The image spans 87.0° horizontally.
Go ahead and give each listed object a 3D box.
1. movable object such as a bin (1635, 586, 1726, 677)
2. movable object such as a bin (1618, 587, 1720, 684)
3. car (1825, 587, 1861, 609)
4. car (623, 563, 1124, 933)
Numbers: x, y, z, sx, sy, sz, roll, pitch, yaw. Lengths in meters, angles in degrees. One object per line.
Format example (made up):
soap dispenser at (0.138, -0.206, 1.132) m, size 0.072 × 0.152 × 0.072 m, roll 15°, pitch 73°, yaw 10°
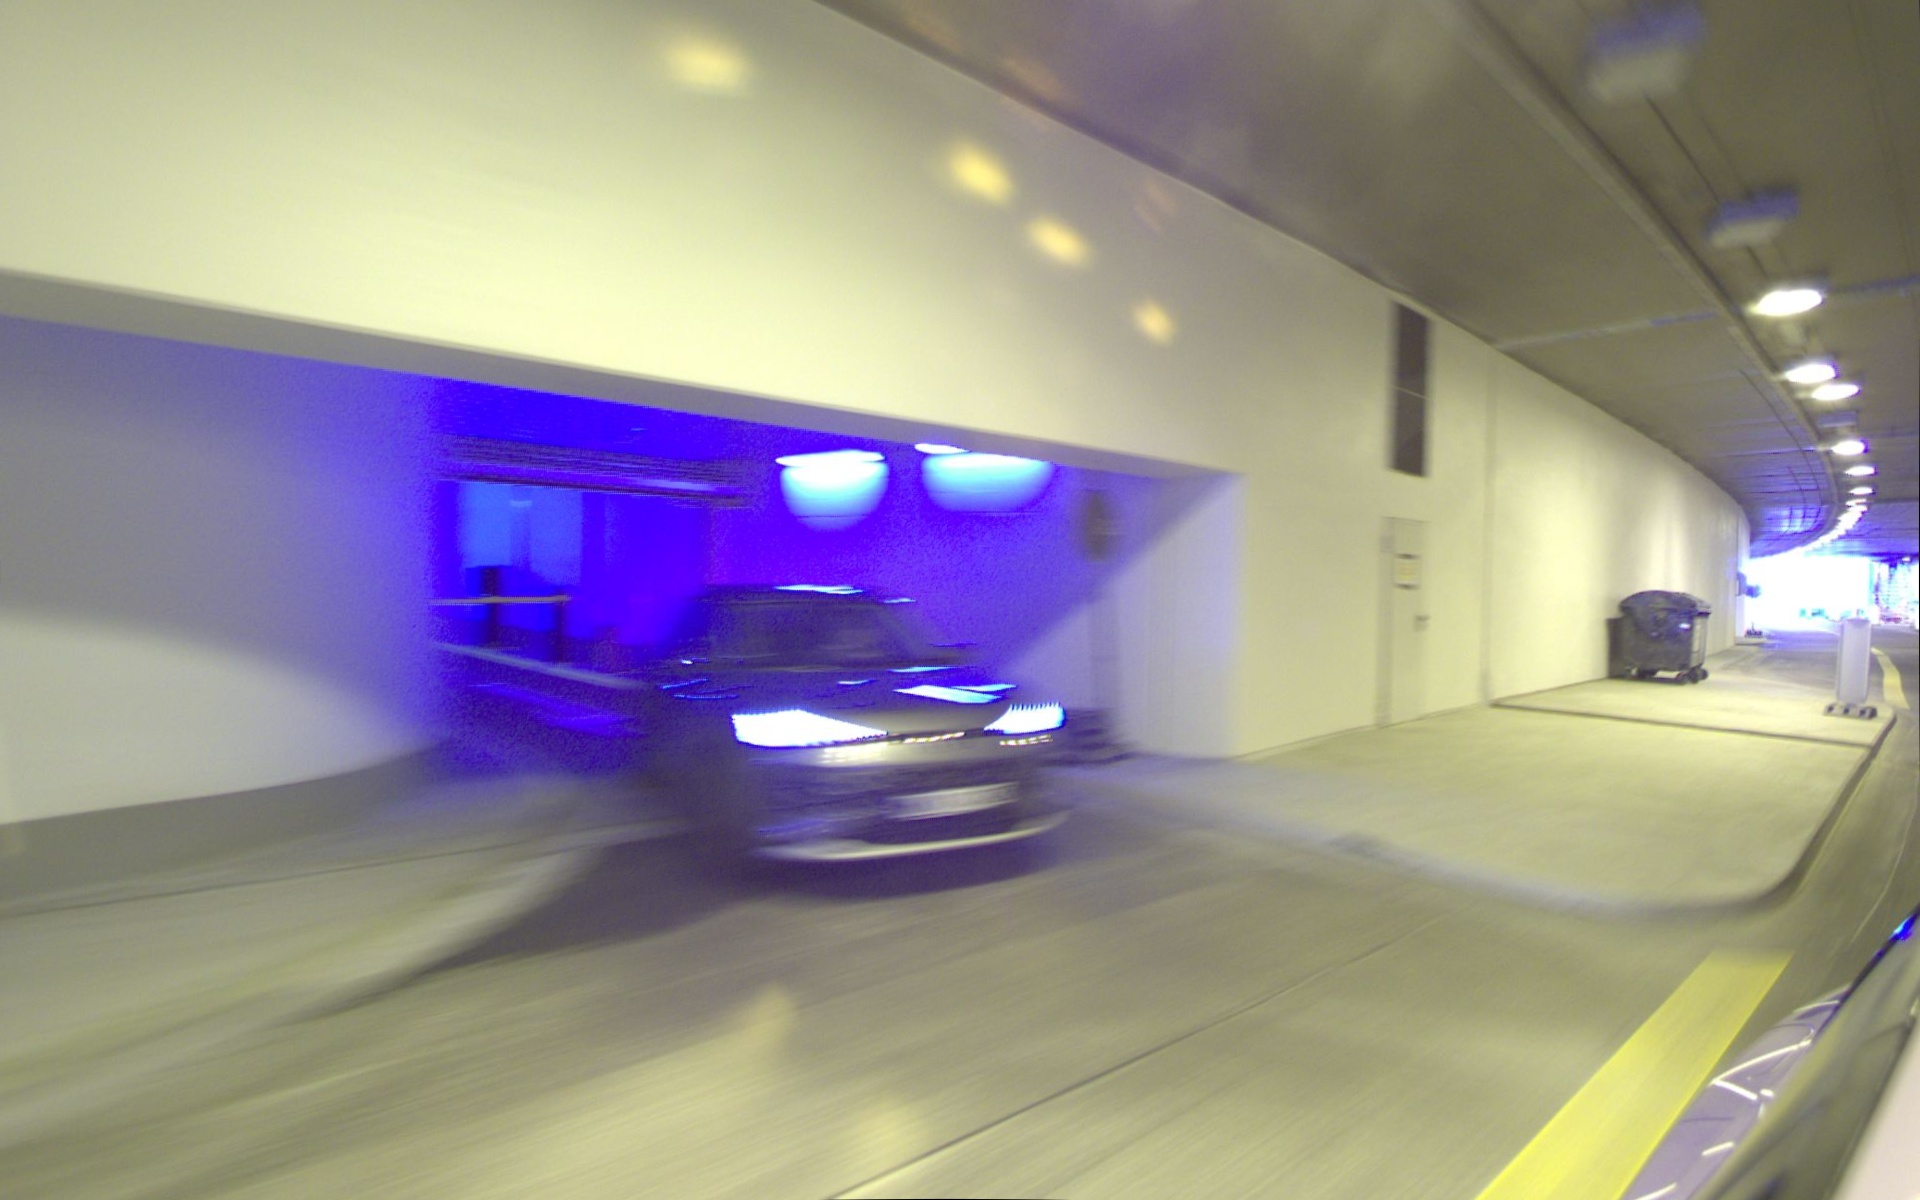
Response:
movable object such as a bin at (12.281, 0.500, 17.236) m, size 1.097 × 1.463 × 1.301 m, roll 1°, pitch 1°, yaw 44°
movable object such as a bin at (11.319, 0.521, 16.153) m, size 1.145 × 1.463 × 1.342 m, roll 1°, pitch 1°, yaw 44°
car at (75.647, -0.211, 86.764) m, size 1.988 × 1.775 × 3.948 m, roll 0°, pitch 1°, yaw 36°
car at (-0.932, 0.584, 6.596) m, size 1.859 × 1.565 × 4.247 m, roll 0°, pitch 1°, yaw -26°
